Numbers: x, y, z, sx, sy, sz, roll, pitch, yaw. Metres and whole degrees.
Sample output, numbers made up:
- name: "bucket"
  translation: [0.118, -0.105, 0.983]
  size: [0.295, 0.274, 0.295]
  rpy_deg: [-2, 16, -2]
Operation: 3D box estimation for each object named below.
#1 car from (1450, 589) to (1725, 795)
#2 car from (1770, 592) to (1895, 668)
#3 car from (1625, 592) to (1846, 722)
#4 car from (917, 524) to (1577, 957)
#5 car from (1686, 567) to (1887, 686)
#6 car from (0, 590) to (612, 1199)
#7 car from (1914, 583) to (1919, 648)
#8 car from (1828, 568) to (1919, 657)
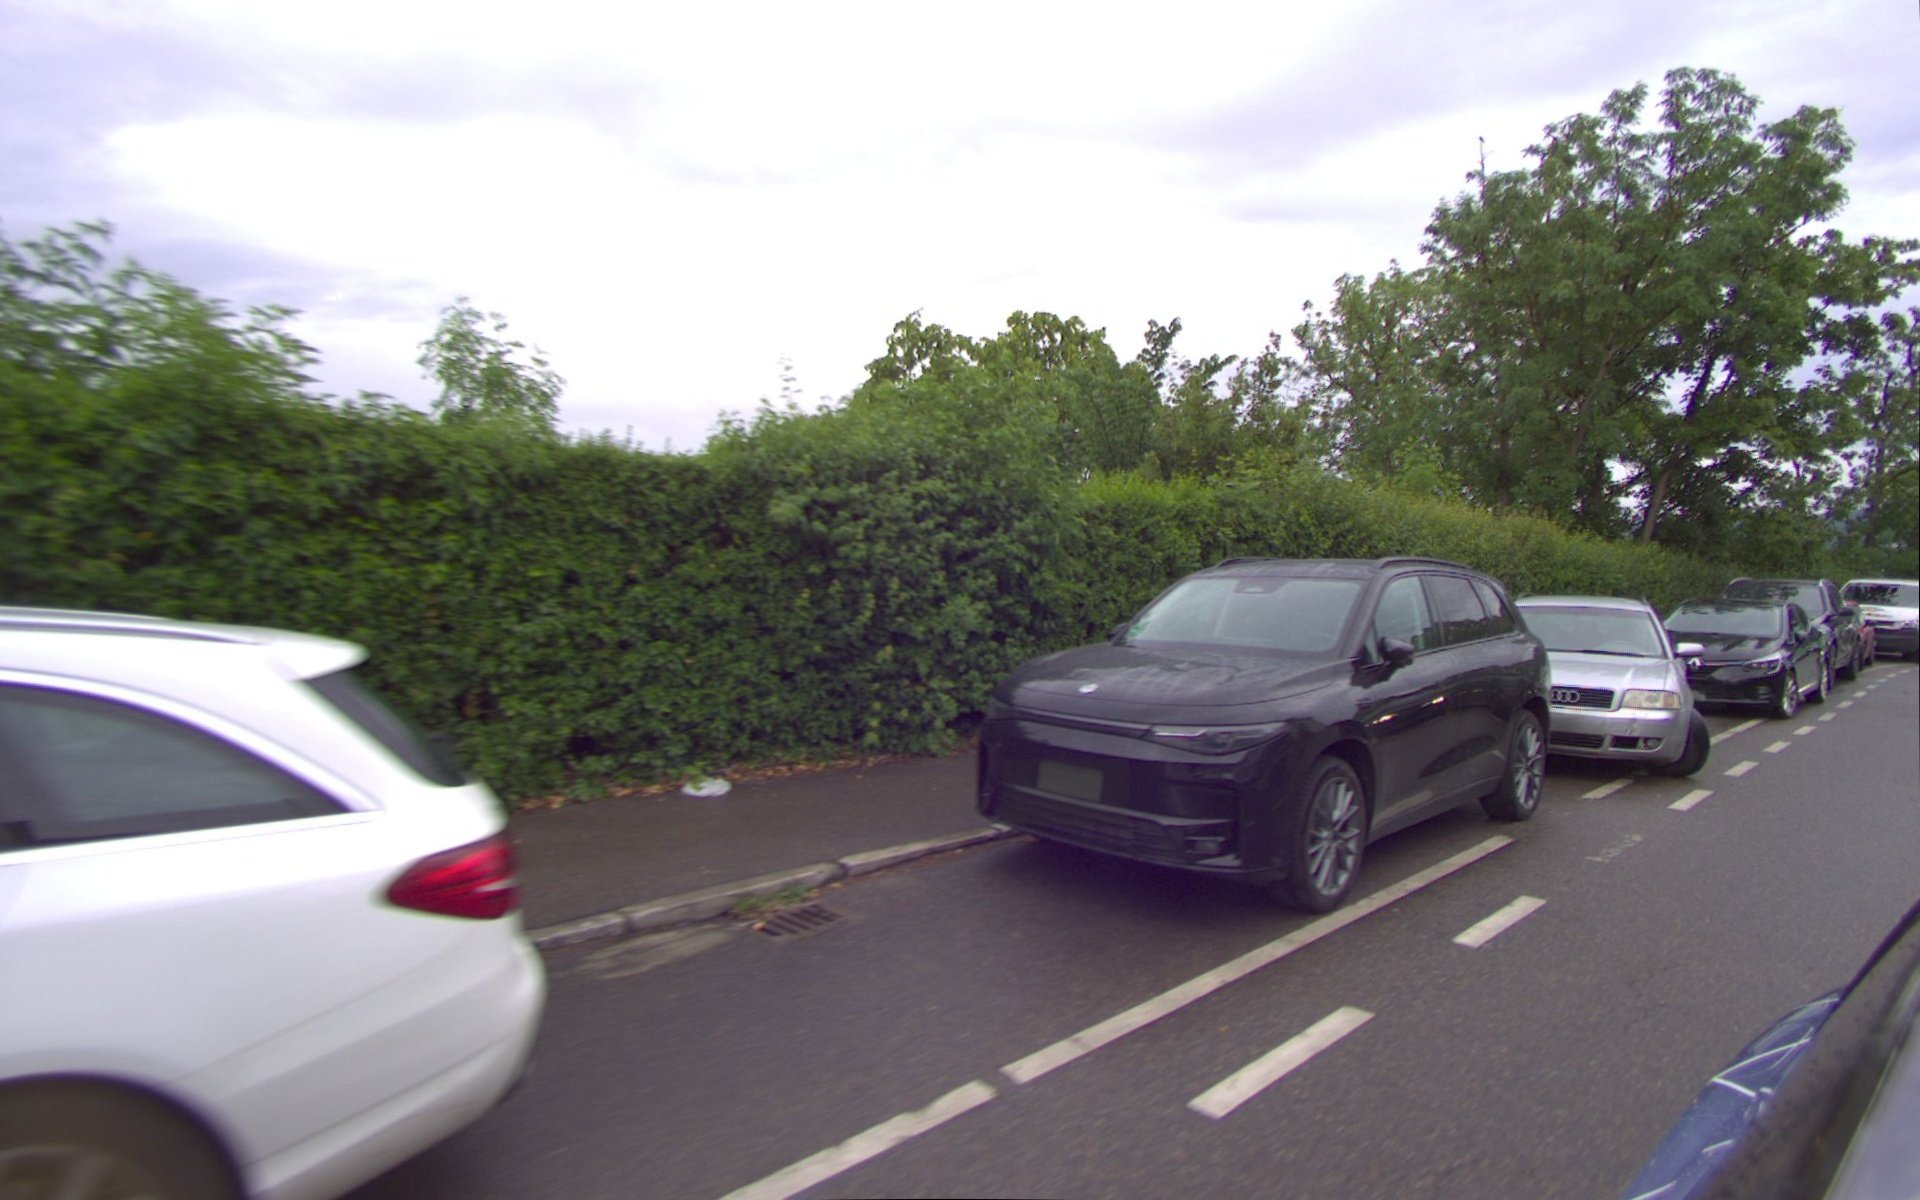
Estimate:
- name: "car"
  translation: [6.104, 0.657, 9.763]
  size: [1.793, 1.458, 4.584]
  rpy_deg: [2, 1, 35]
- name: "car"
  translation: [18.839, 0.599, 21.807]
  size: [3.680, 1.431, 1.673]
  rpy_deg: [0, 2, -44]
- name: "car"
  translation: [10.604, 0.652, 13.745]
  size: [3.915, 1.439, 1.691]
  rpy_deg: [-1, 3, -42]
- name: "car"
  translation: [2.035, 0.531, 6.181]
  size: [4.472, 1.683, 1.889]
  rpy_deg: [0, 1, -44]
- name: "car"
  translation: [14.778, 0.401, 17.994]
  size: [4.814, 1.805, 2.030]
  rpy_deg: [1, 2, -42]
- name: "car"
  translation: [-3.012, 0.699, 1.338]
  size: [4.530, 1.423, 1.715]
  rpy_deg: [0, 1, -43]
- name: "car"
  translation: [28.661, 0.525, 28.021]
  size: [4.288, 1.792, 1.869]
  rpy_deg: [2, 1, -27]
- name: "car"
  translation: [23.610, 0.305, 25.182]
  size: [4.716, 1.971, 1.867]
  rpy_deg: [1, 3, -35]
